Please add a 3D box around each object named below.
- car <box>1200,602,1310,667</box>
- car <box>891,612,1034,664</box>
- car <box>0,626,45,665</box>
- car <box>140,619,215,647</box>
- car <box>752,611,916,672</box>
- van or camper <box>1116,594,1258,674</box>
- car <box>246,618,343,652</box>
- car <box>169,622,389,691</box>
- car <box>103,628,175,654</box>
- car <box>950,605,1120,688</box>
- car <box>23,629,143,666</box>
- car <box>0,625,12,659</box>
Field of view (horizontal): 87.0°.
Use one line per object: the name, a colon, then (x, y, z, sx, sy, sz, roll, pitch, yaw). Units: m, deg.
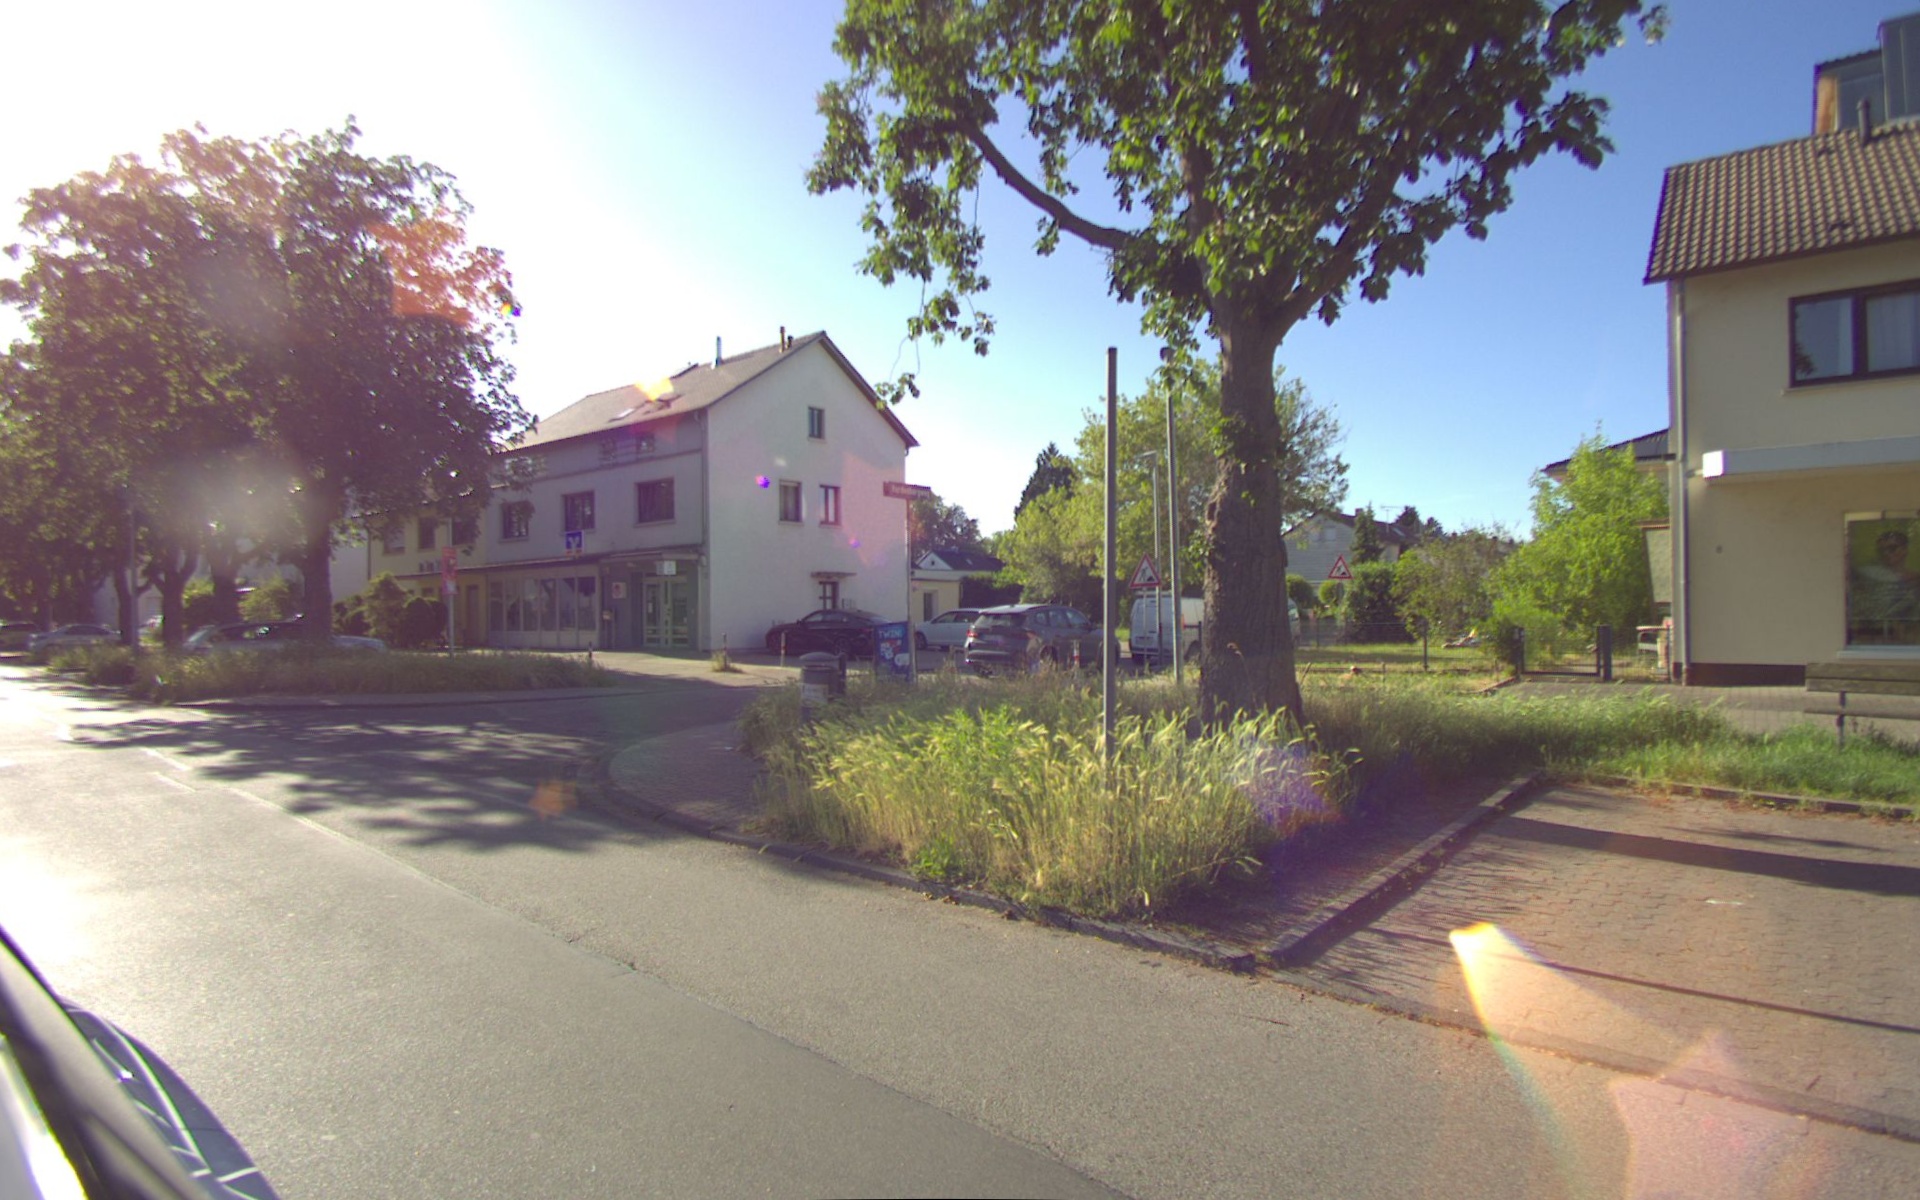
car: (9.381, 1.040, 31.962, 1.997, 1.844, 3.949, -1, 0, 38)
car: (0.036, 1.238, 34.227, 4.662, 1.539, 1.854, 1, 0, 37)
car: (-42.878, 2.050, 45.760, 3.696, 1.550, 1.972, -1, 3, 44)
car: (-56.809, 2.354, 73.518, 1.999, 1.696, 3.946, -1, 3, 41)
car: (-3.811, 1.163, 30.179, 4.902, 1.575, 1.975, 1, 0, 37)
van or camper: (6.382, 0.897, 28.090, 1.998, 2.029, 4.625, -1, -1, 39)
car: (-32.725, 1.708, 49.794, 3.721, 1.577, 1.692, 2, -2, -45)
car: (-17.424, 1.380, 26.053, 1.999, 1.426, 4.336, -1, 1, 41)
car: (-63.353, 3.139, 78.109, 1.999, 1.696, 3.946, -1, 3, 41)
car: (1.746, 0.991, 22.417, 1.996, 1.650, 3.951, -1, -2, 36)
car: (-37.964, 2.017, 43.871, 1.622, 1.333, 3.651, -1, 1, 36)
car: (-51.291, 2.222, 53.322, 4.057, 1.746, 1.791, -2, -1, 44)
